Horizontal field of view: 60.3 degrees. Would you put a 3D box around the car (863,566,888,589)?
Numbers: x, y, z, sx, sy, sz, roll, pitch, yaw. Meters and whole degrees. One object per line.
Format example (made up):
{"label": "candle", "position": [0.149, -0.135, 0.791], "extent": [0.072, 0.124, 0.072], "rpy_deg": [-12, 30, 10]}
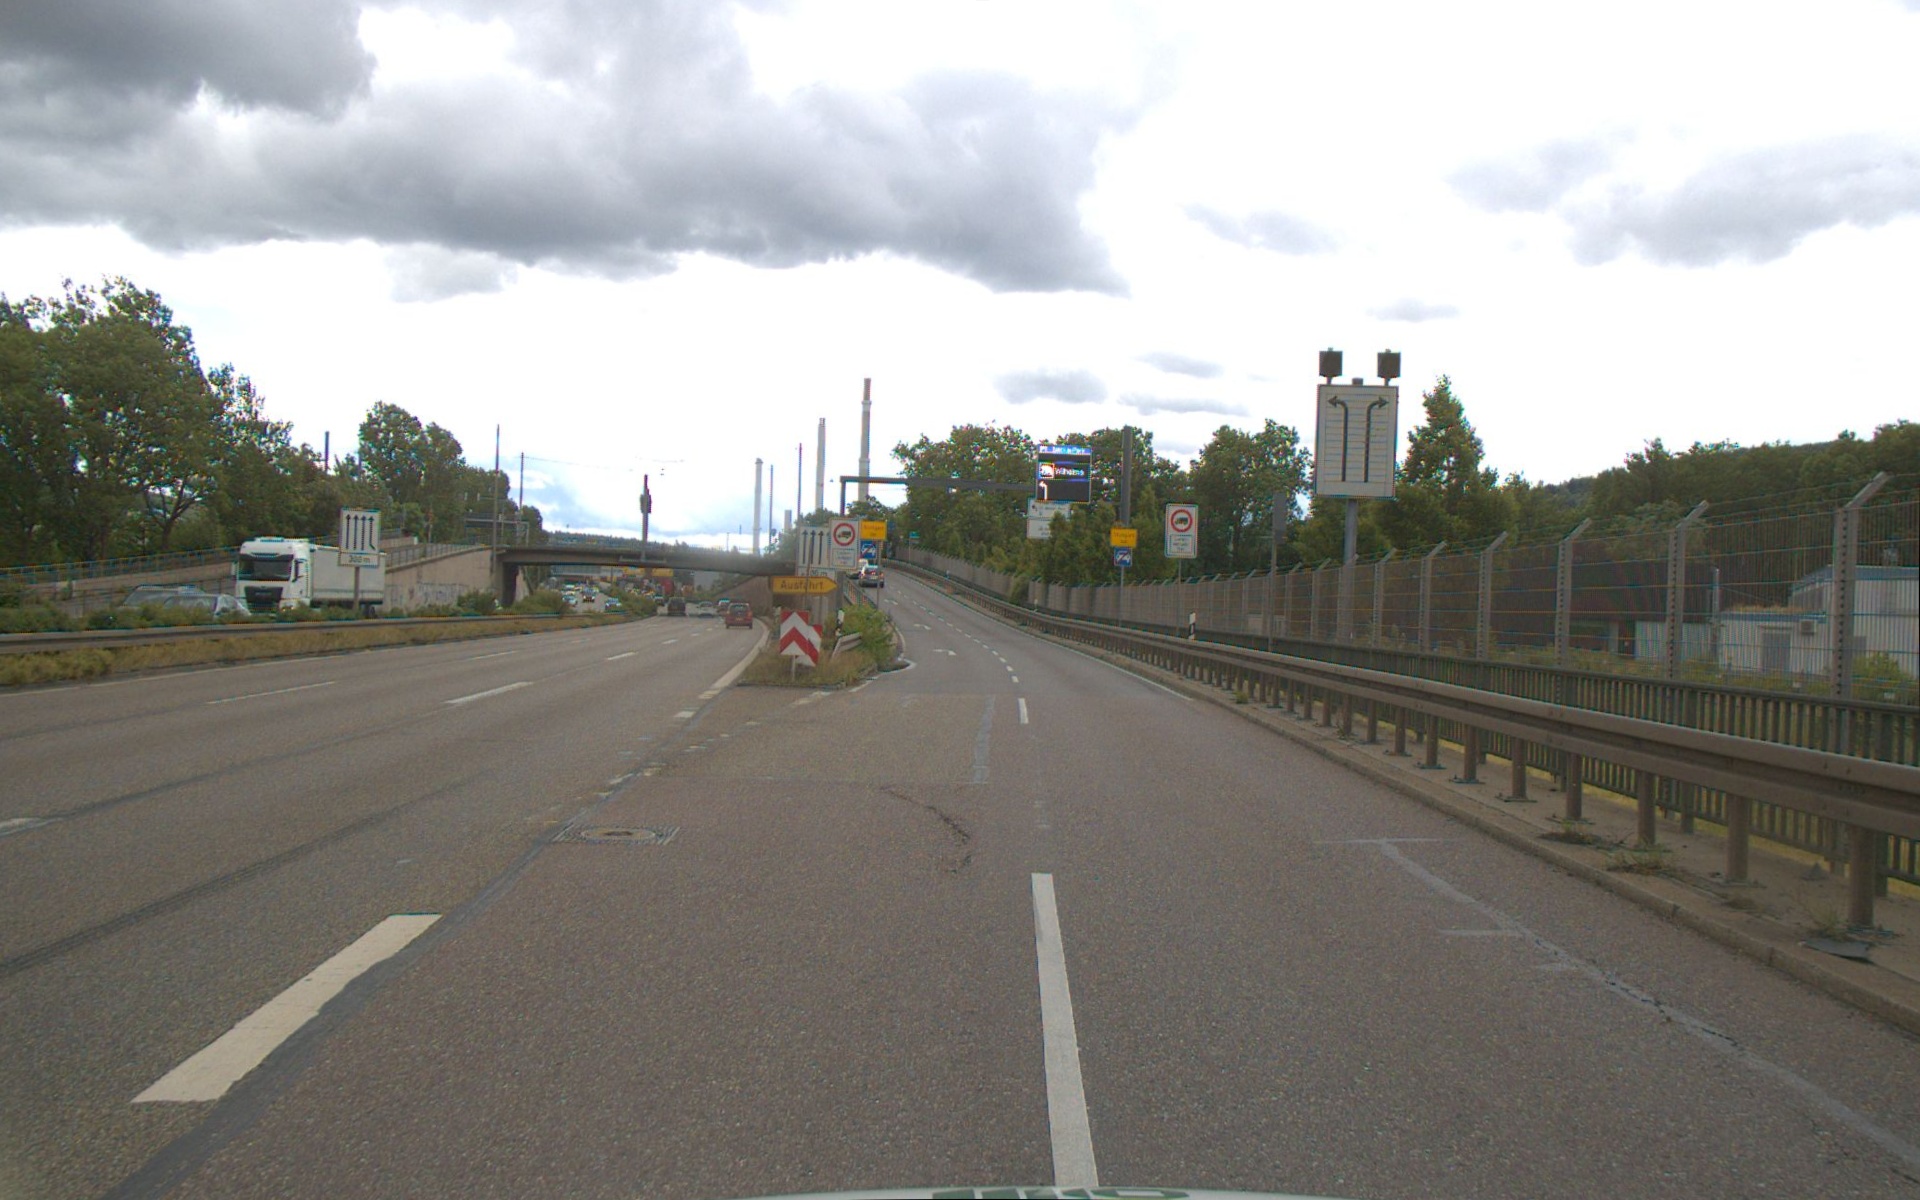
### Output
{"label": "car", "position": [-6.442, -1.707, 126.311], "extent": [1.714, 1.608, 4.084], "rpy_deg": [3, 0, -1]}

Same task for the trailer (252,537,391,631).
{"label": "trailer", "position": [-30.403, -0.660, 79.479], "extent": [2.737, 4.018, 13.493], "rpy_deg": [2, -1, -7]}

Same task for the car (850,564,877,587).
{"label": "car", "position": [-8.047, -2.046, 137.698], "extent": [1.956, 1.630, 3.995], "rpy_deg": [1, 4, -8]}

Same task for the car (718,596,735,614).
{"label": "car", "position": [-28.447, 0.587, 201.418], "extent": [1.883, 2.049, 3.992], "rpy_deg": [3, 0, -9]}

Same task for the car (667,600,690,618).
{"label": "car", "position": [-30.054, 0.955, 176.631], "extent": [1.955, 1.713, 3.996], "rpy_deg": [2, 1, -5]}

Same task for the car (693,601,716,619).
{"label": "car", "position": [-25.650, 0.982, 165.980], "extent": [1.955, 1.713, 3.996], "rpy_deg": [2, 1, -5]}

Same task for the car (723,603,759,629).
{"label": "car", "position": [-13.614, 0.987, 102.661], "extent": [1.958, 1.445, 3.990], "rpy_deg": [2, 1, -11]}

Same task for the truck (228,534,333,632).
{"label": "truck", "position": [-29.559, -0.705, 72.165], "extent": [2.736, 4.006, 5.304], "rpy_deg": [2, -1, -7]}
